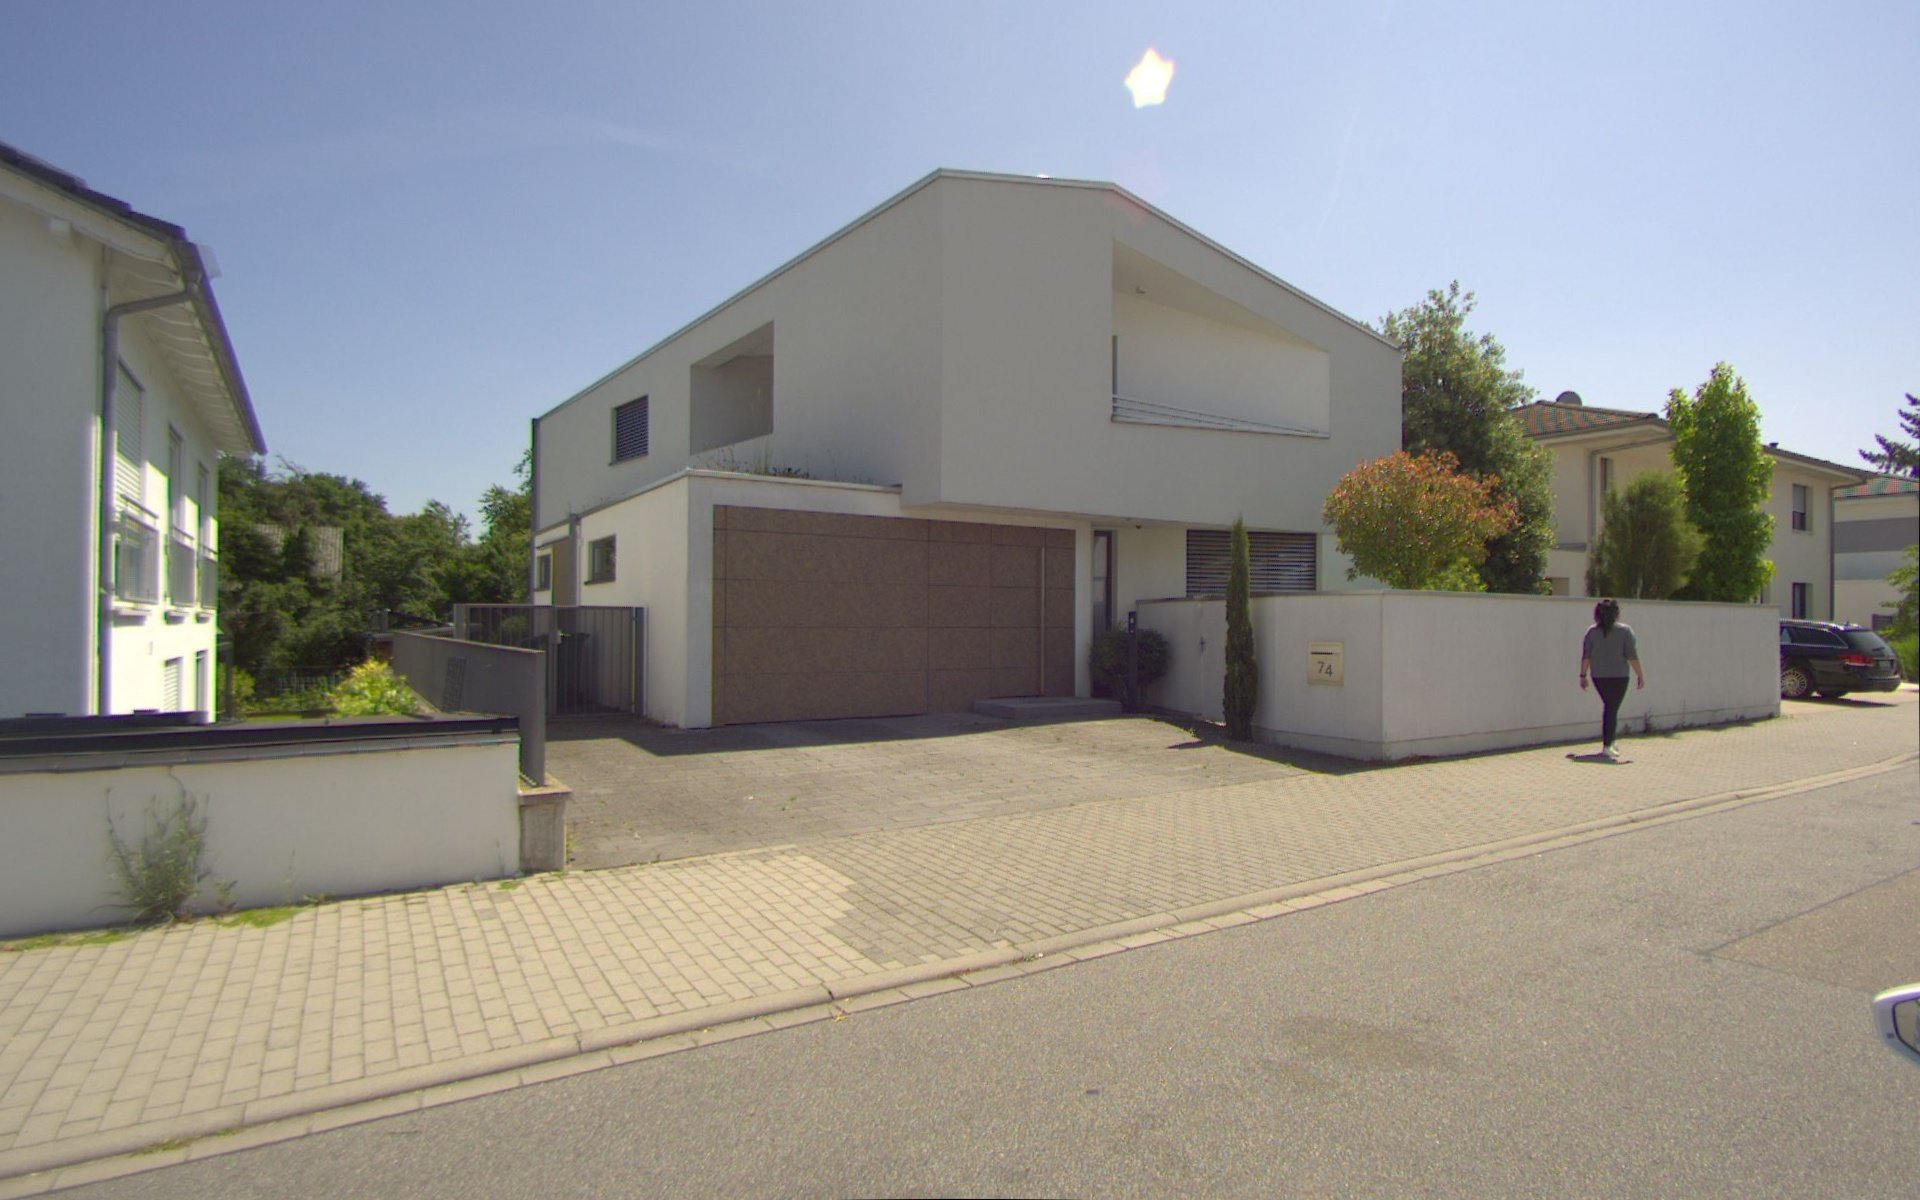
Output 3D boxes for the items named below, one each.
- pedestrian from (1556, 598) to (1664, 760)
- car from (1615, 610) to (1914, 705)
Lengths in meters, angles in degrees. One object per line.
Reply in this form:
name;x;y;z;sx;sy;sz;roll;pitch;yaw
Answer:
pedestrian;7.427;0.870;11.488;0.950;1.770;0.710;1;-1;-32
car;16.295;1.084;20.631;1.827;1.493;4.410;1;2;-28
